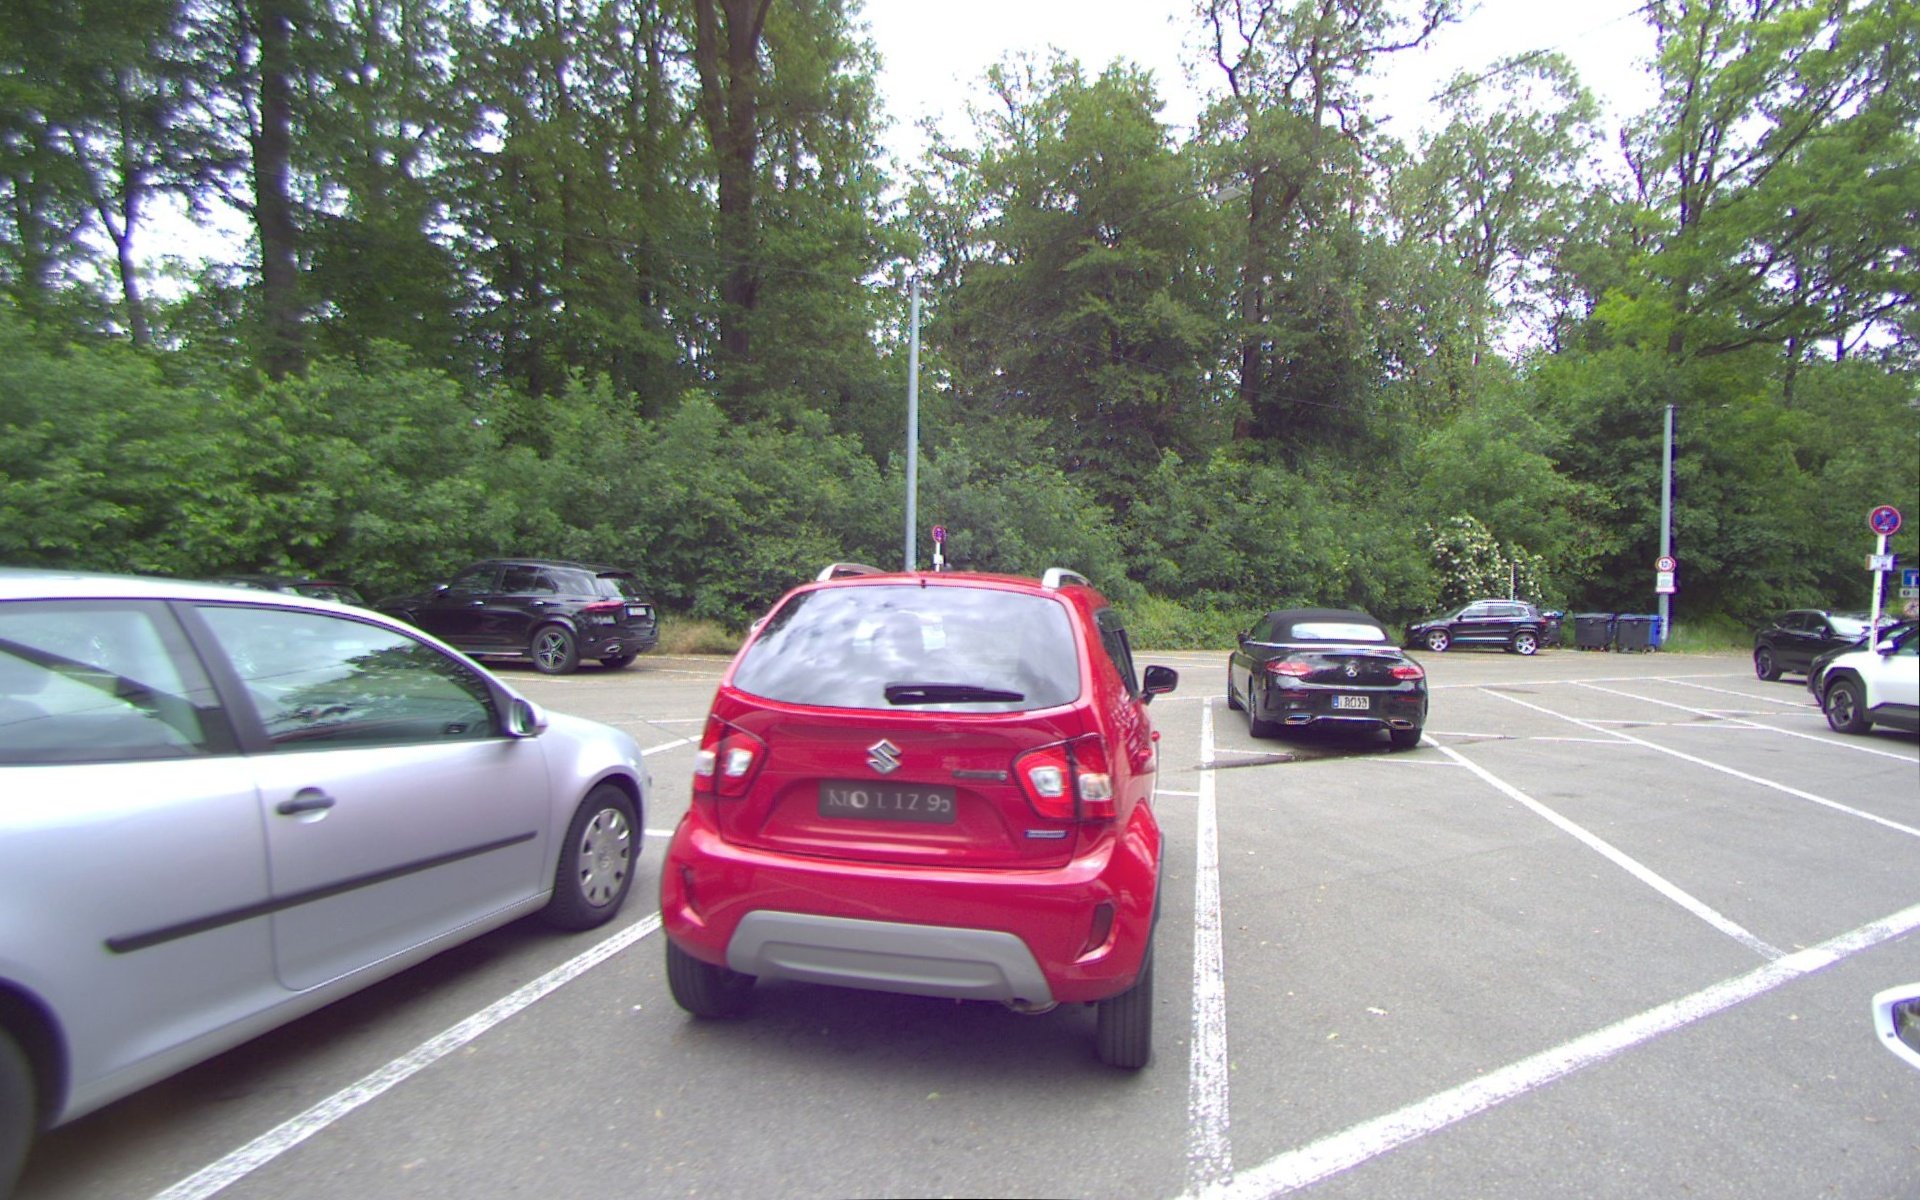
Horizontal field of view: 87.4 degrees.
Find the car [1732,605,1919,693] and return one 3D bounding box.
[{"bbox_3d":[18.919,0.981,21.765,1.860,1.685,4.002,2,0,12],"label":"car"}]

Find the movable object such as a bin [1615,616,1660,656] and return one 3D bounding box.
[{"bbox_3d":[23.711,1.248,35.184,1.151,1.325,1.311,2,0,29],"label":"movable object such as a bin"}]

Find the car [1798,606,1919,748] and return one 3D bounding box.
[{"bbox_3d":[11.938,0.910,11.484,1.809,1.618,4.192,1,0,12],"label":"car"}]

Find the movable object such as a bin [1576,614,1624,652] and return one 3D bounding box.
[{"bbox_3d":[23.829,1.220,37.427,1.228,1.337,1.116,1,0,-35],"label":"movable object such as a bin"}]

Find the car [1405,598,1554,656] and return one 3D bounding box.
[{"bbox_3d":[16.937,0.864,32.978,3.989,1.707,1.881,2,0,16],"label":"car"}]

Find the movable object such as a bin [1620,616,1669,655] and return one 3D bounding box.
[{"bbox_3d":[25.225,1.294,37.010,1.138,1.342,1.241,1,0,-43],"label":"movable object such as a bin"}]

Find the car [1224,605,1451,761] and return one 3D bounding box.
[{"bbox_3d":[4.283,0.817,12.078,1.831,1.461,4.319,1,0,11],"label":"car"}]

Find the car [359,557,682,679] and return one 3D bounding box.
[{"bbox_3d":[-7.278,0.254,16.801,4.613,1.790,2.113,1,0,15],"label":"car"}]

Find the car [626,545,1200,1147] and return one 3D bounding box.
[{"bbox_3d":[0.169,0.664,4.667,1.652,1.606,3.656,1,0,11],"label":"car"}]

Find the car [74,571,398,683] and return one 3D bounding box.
[{"bbox_3d":[-10.562,0.355,14.734,3.919,1.394,1.741,2,0,15],"label":"car"}]

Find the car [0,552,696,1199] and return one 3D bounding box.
[{"bbox_3d":[-2.657,0.628,3.331,1.839,1.503,4.002,2,0,11],"label":"car"}]

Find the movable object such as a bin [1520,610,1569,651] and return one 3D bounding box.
[{"bbox_3d":[21.403,1.115,36.780,1.116,1.444,1.119,1,0,-28],"label":"movable object such as a bin"}]

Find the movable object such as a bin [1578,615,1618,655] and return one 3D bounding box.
[{"bbox_3d":[22.706,1.230,35.799,1.107,1.332,1.182,2,0,29],"label":"movable object such as a bin"}]

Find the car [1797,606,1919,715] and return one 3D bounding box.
[{"bbox_3d":[14.933,0.905,15.002,1.835,1.575,4.002,1,0,7],"label":"car"}]

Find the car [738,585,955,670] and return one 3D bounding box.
[{"bbox_3d":[-2.251,0.512,20.301,3.919,1.531,1.870,1,0,15],"label":"car"}]
